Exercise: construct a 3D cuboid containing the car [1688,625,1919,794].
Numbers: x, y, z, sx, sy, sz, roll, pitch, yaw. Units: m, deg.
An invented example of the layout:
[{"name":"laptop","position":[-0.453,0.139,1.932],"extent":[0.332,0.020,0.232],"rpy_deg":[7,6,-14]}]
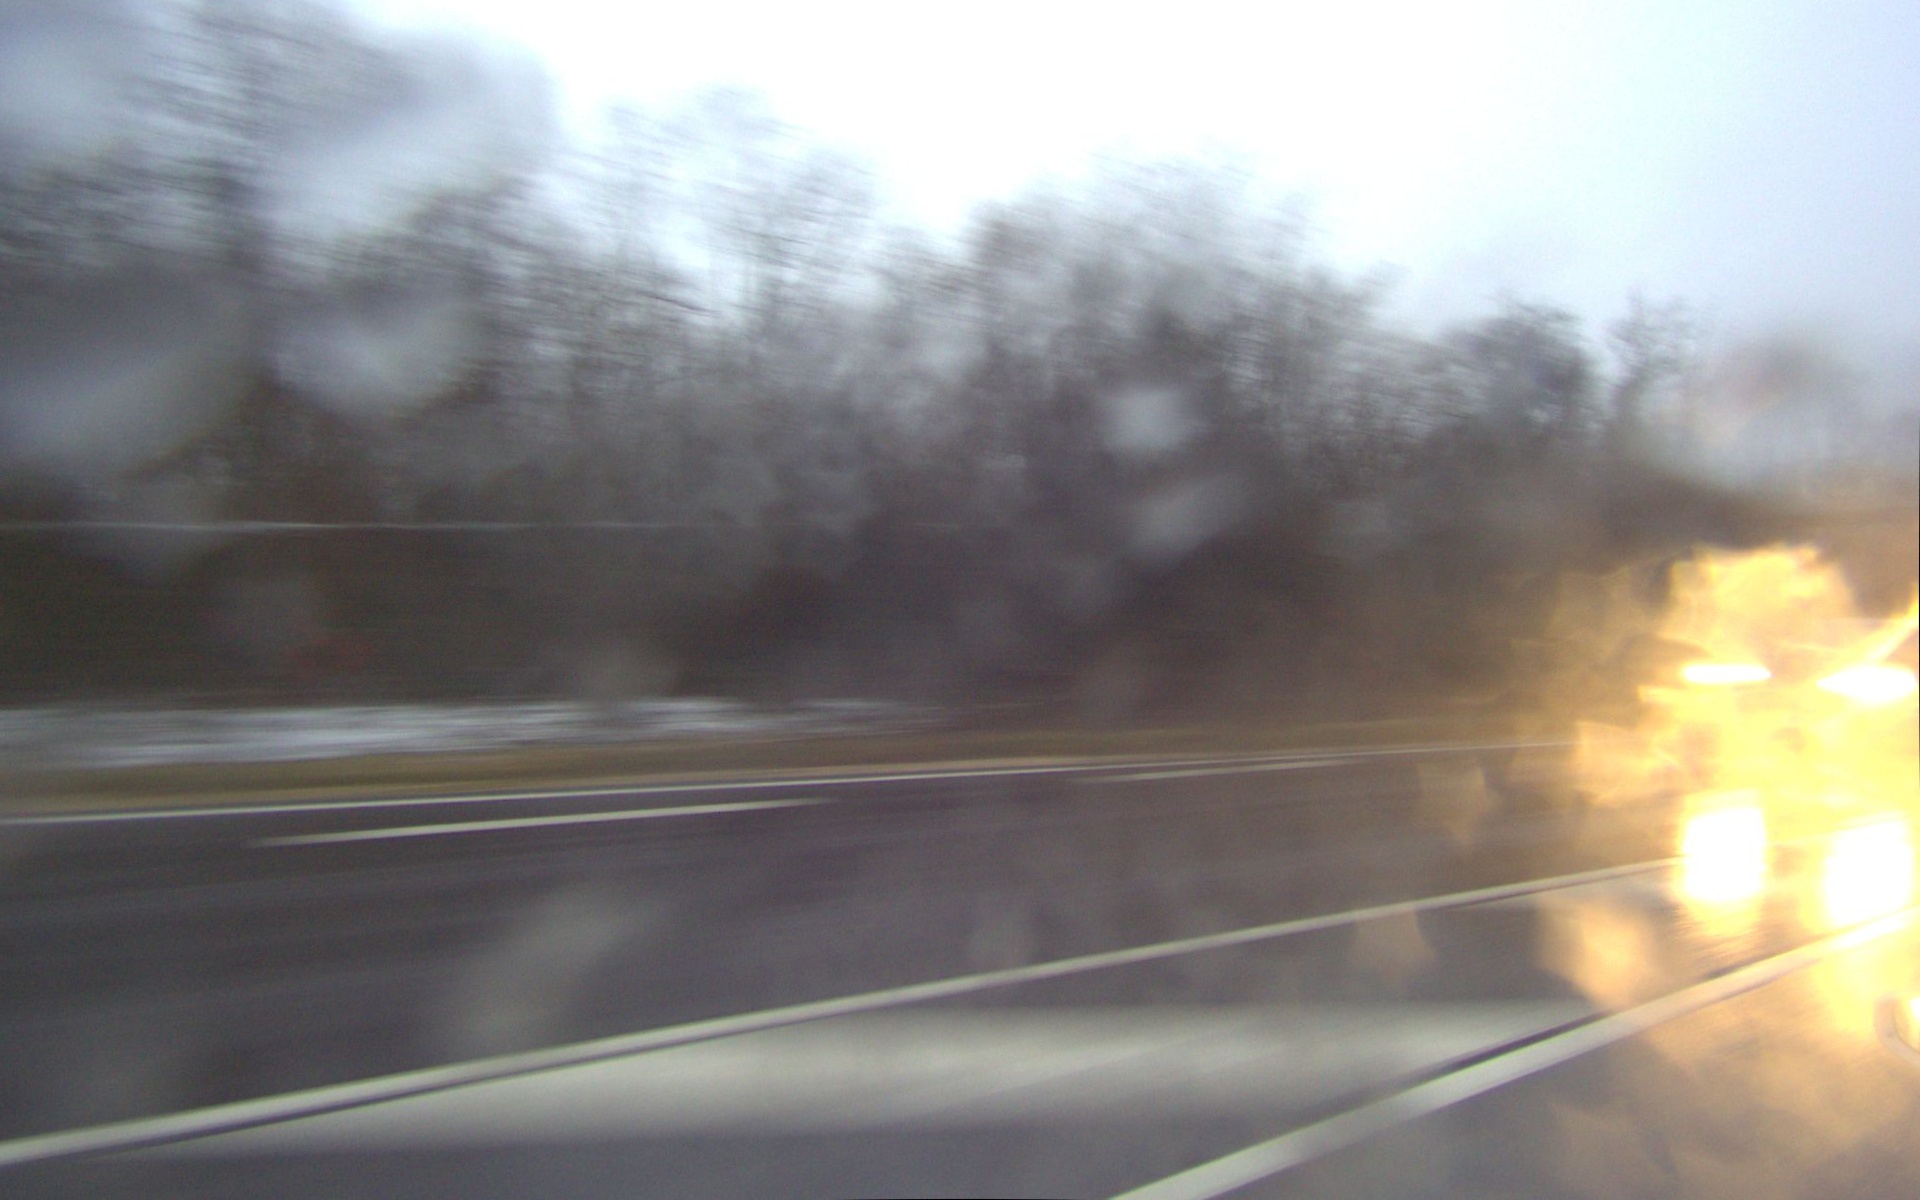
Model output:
[{"name":"car","position":[10.851,1.197,11.917],"extent":[4.412,1.669,1.853],"rpy_deg":[2,-2,-28]}]
